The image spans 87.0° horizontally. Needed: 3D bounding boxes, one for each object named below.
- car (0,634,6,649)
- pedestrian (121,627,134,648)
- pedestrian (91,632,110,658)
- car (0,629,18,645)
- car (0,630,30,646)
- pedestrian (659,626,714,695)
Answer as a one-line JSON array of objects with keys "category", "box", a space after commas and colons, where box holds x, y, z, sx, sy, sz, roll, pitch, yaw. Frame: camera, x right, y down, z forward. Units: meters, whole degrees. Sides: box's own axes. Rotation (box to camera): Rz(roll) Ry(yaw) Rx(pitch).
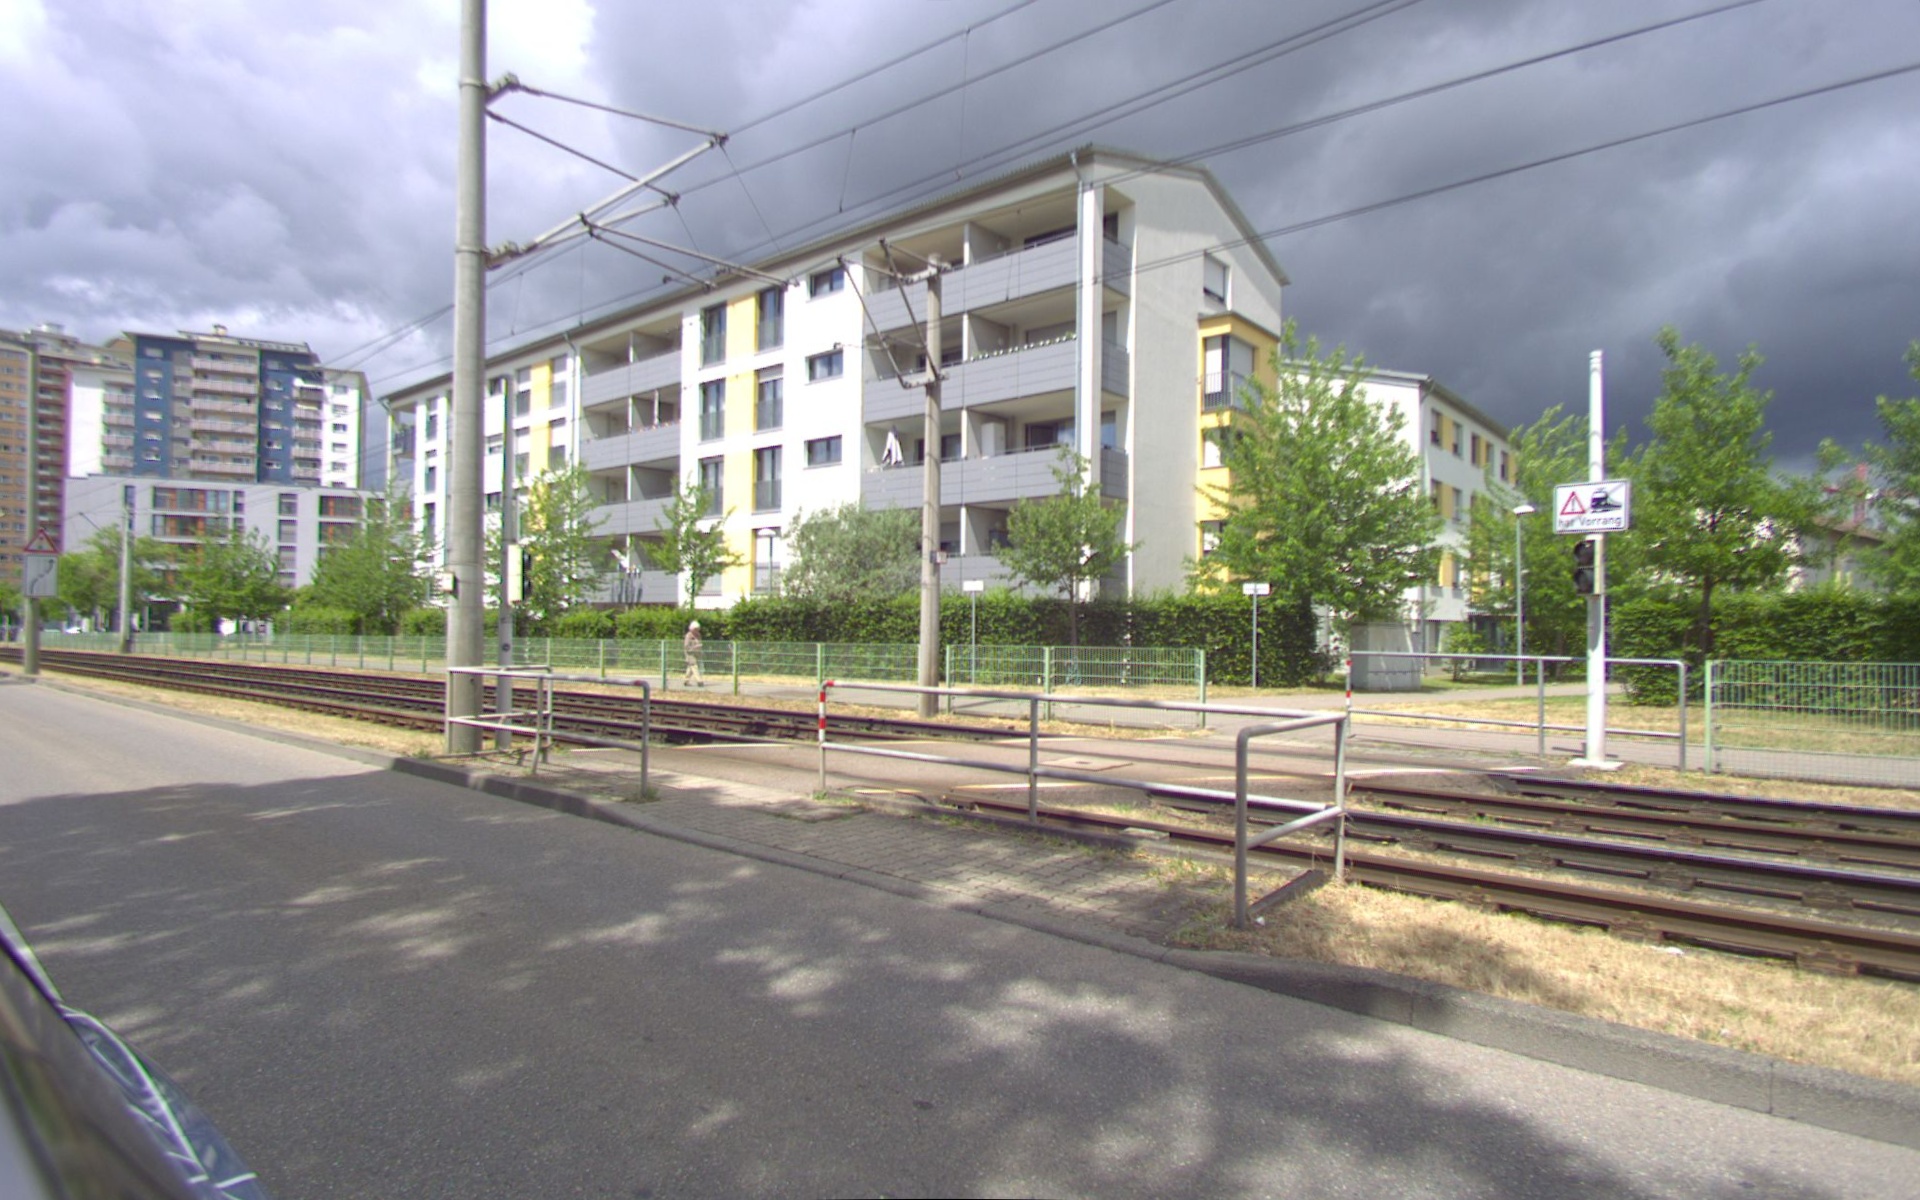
[{"category": "car", "box": [-102.987, 4.381, 107.557, 3.799, 1.551, 1.759, -1, -2, 39]}, {"category": "pedestrian", "box": [-68.277, 3.058, 83.021, 0.537, 1.666, 0.740, -2, -2, 39]}, {"category": "pedestrian", "box": [-55.346, 2.878, 65.189, 0.937, 1.625, 0.747, -2, -2, 39]}, {"category": "car", "box": [-97.936, 3.797, 103.497, 3.799, 1.551, 1.759, -1, -2, 39]}, {"category": "car", "box": [-93.219, 3.759, 99.701, 3.801, 1.551, 1.869, -2, -2, 41]}, {"category": "pedestrian", "box": [-6.137, 1.338, 22.711, 0.995, 1.494, 0.788, -2, -2, 39]}]
